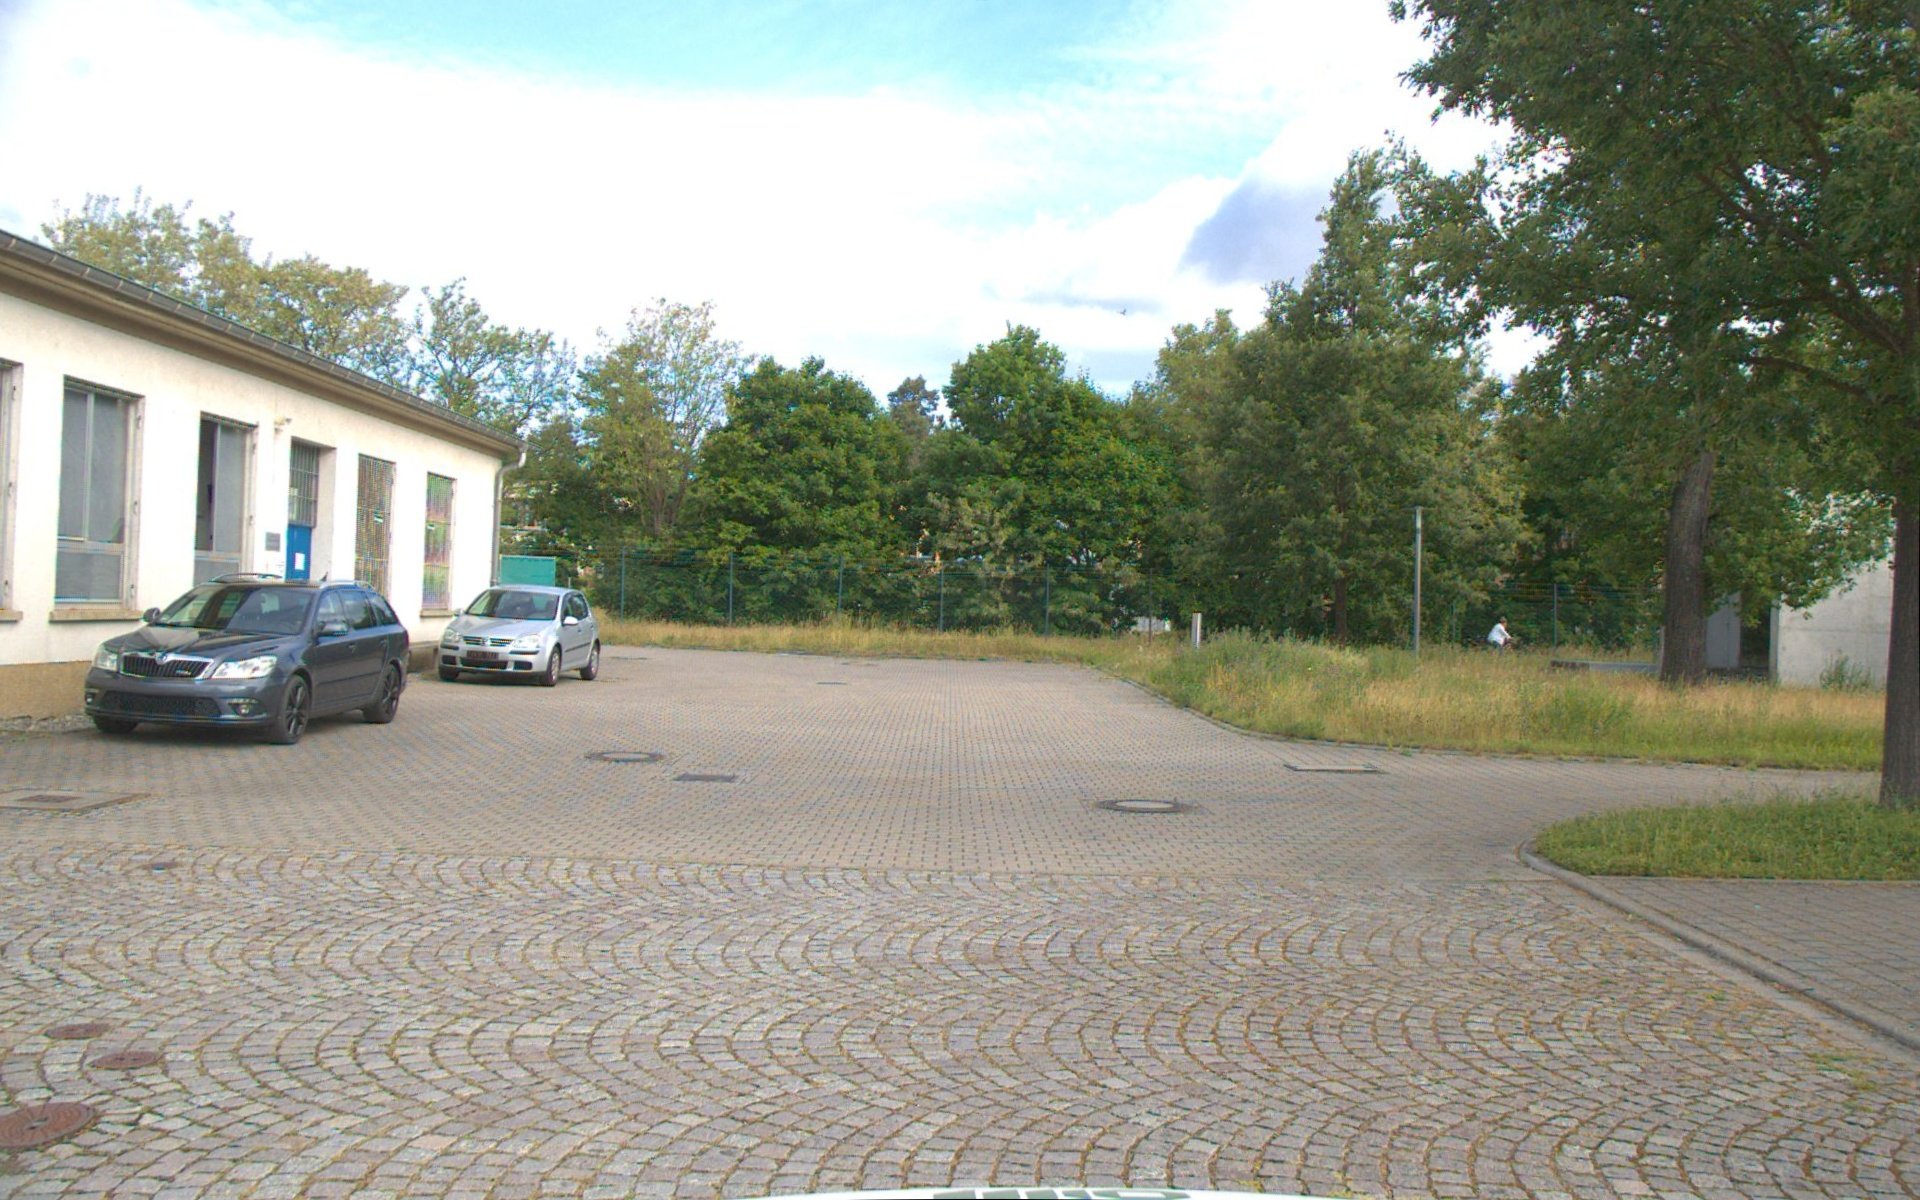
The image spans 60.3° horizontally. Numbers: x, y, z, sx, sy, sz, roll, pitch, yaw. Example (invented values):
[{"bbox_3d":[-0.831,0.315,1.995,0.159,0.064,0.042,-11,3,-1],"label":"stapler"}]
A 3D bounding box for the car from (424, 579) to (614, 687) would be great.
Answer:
[{"bbox_3d":[-6.877,0.483,26.276,1.886,1.464,4.366,3,0,-2],"label":"car"}]

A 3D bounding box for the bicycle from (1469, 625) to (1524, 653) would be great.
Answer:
[{"bbox_3d":[16.480,1.197,50.865,1.486,0.805,0.588,2,0,-1],"label":"bicycle"}]

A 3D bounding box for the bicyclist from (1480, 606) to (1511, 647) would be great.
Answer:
[{"bbox_3d":[16.467,0.820,50.870,0.754,1.227,0.588,2,0,-1],"label":"bicyclist"}]

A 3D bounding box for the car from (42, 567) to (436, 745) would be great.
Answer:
[{"bbox_3d":[-6.902,0.476,16.504,1.886,1.464,4.809,2,0,-2],"label":"car"}]
